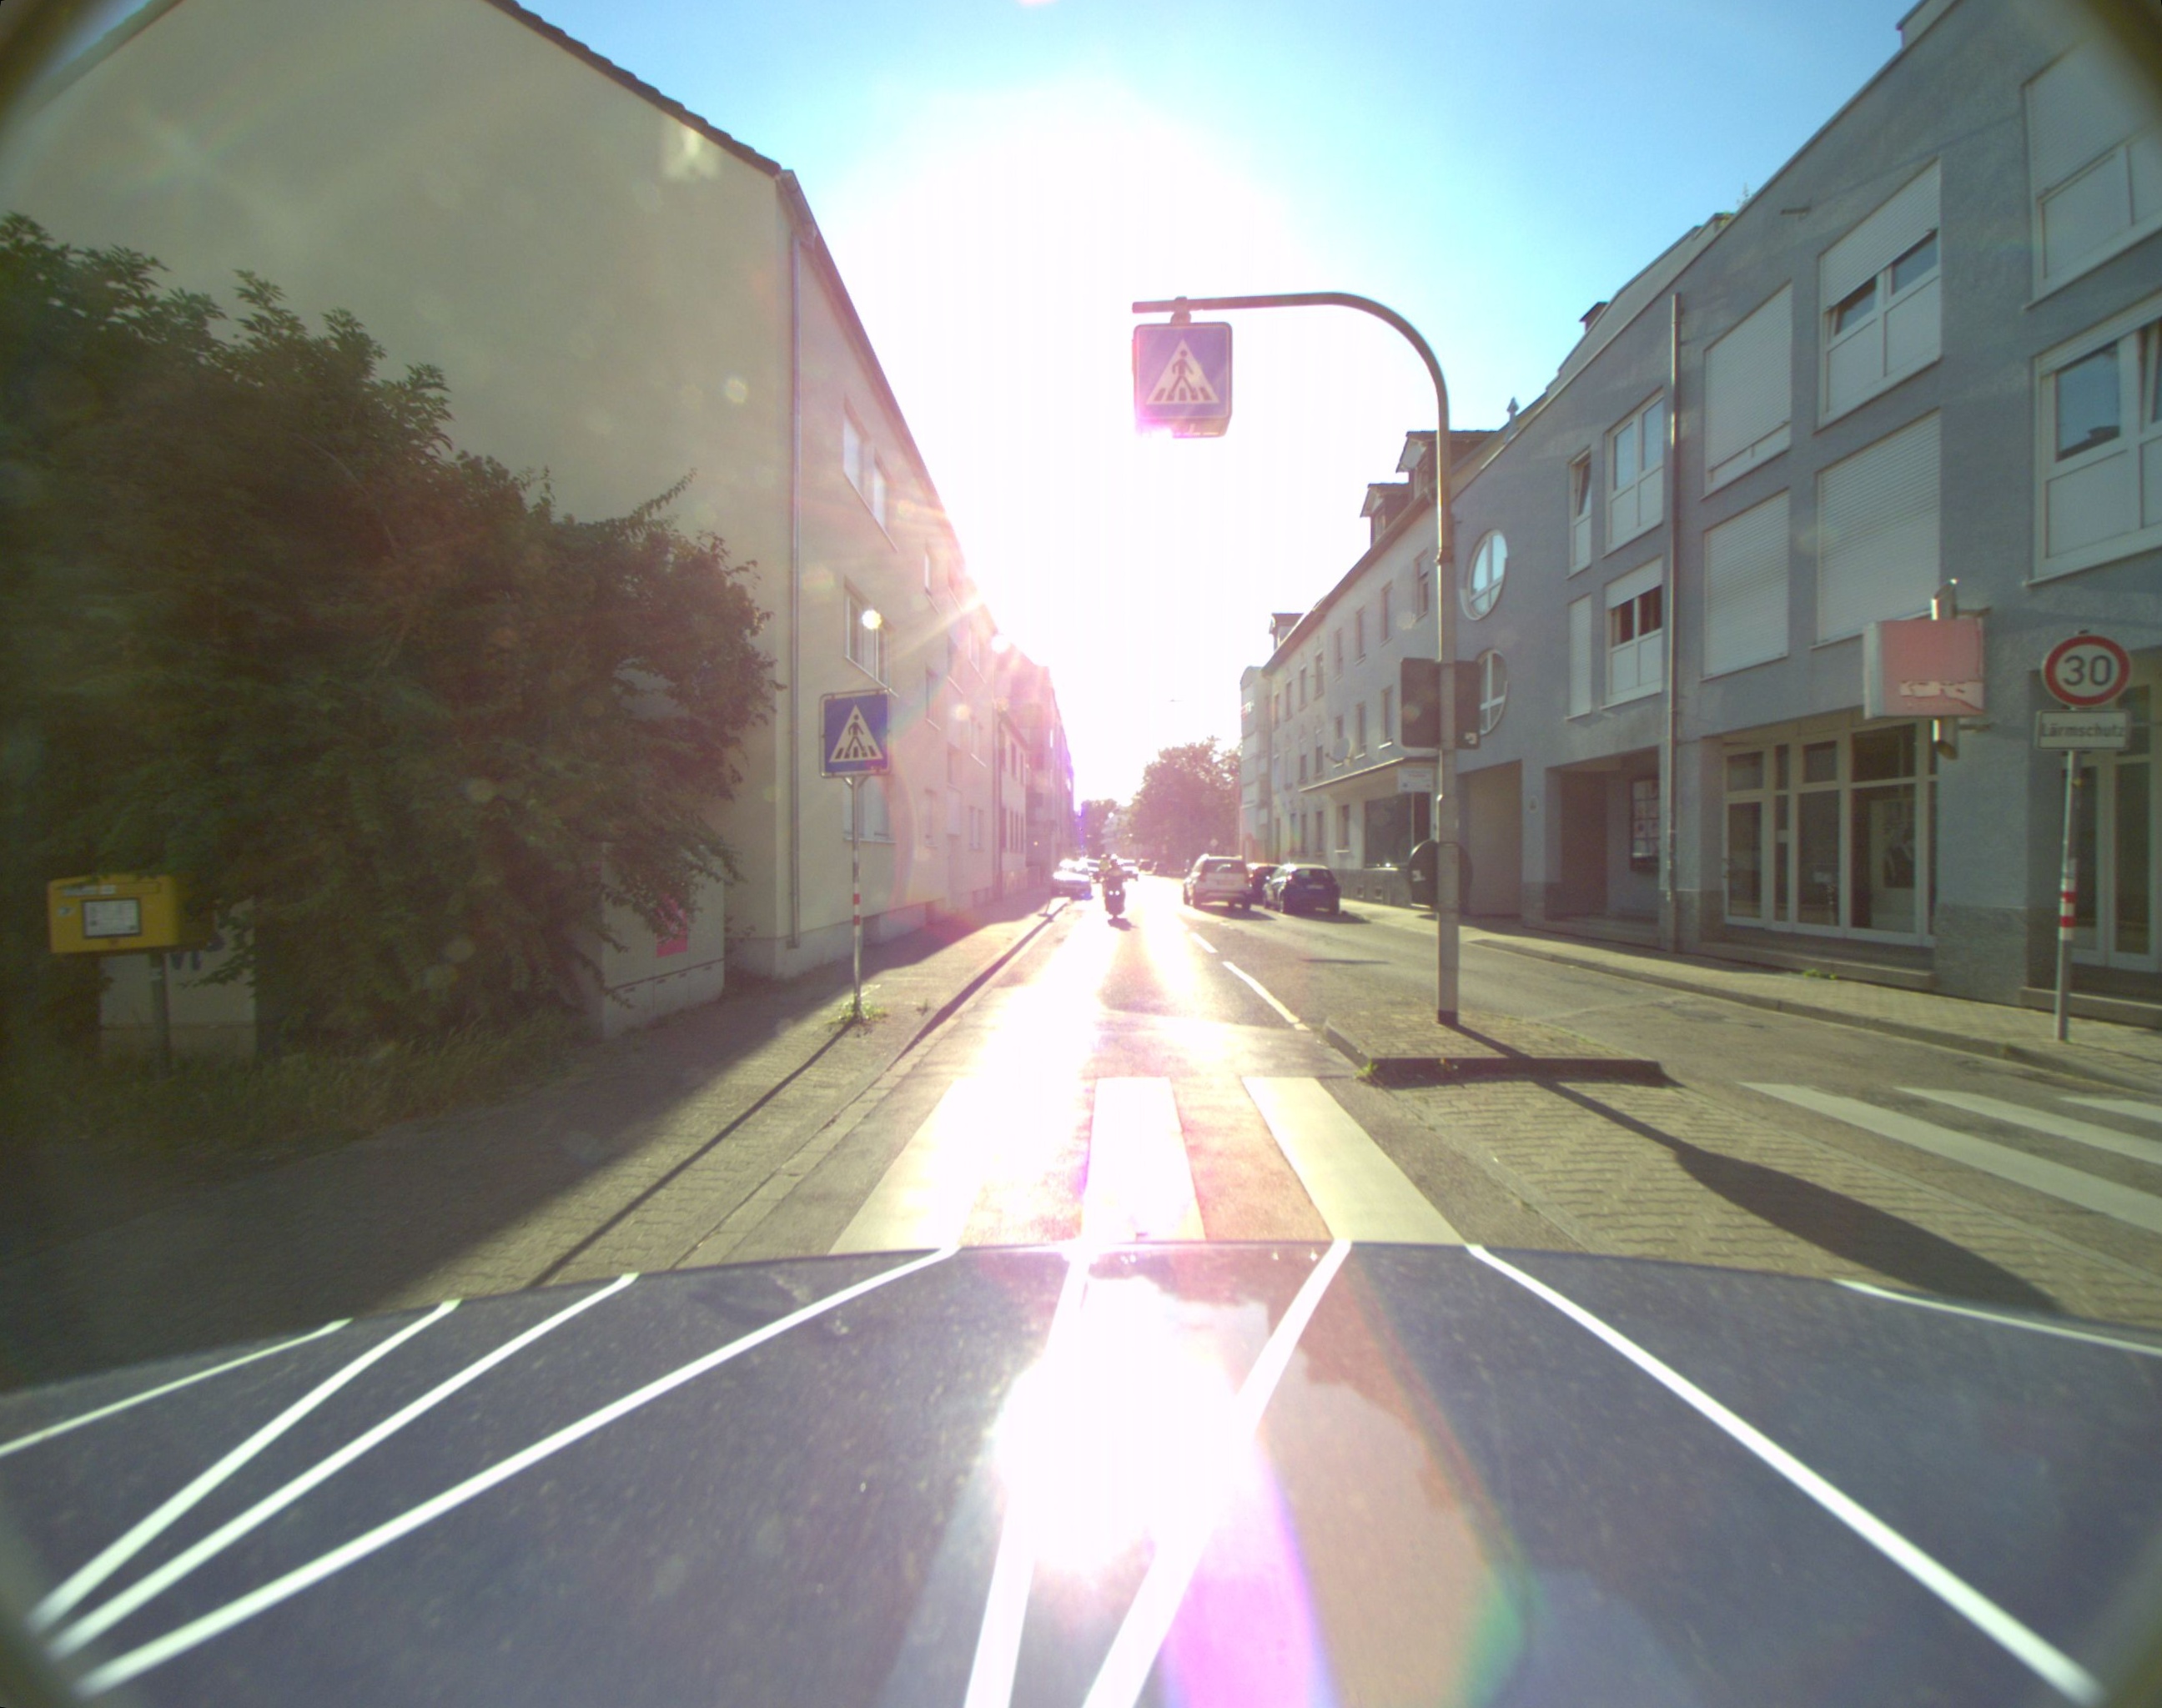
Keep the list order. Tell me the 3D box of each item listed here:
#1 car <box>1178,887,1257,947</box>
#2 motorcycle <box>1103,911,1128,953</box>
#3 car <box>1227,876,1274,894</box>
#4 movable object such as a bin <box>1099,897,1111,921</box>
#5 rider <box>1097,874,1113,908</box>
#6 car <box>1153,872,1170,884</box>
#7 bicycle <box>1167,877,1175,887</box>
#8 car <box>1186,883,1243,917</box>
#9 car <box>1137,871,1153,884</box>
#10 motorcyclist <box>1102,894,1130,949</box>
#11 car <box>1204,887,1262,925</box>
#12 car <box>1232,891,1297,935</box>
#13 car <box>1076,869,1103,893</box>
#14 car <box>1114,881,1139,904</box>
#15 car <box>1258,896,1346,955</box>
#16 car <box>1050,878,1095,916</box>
[{"bbox_3d":[4.440,2.019,25.269,1.812,1.691,4.193,2,-1,0],"label":"car"},{"bbox_3d":[0.930,2.112,20.845,0.598,1.003,1.822,0,-1,-1],"label":"motorcycle"},{"bbox_3d":[15.307,2.815,68.776,3.776,1.520,2.001,1,-2,2],"label":"car"},{"bbox_3d":[1.184,2.687,37.394,0.455,1.027,1.840,-3,0,-1],"label":"movable object such as a bin"},{"bbox_3d":[1.170,1.801,37.292,0.655,1.552,1.083,-3,1,-1],"label":"rider"},{"bbox_3d":[10.134,3.027,95.489,1.701,1.483,4.000,0,-1,-1],"label":"car"},{"bbox_3d":[9.659,3.020,81.436,0.705,0.997,1.942,-1,-1,4],"label":"bicycle"},{"bbox_3d":[6.973,2.377,40.305,1.999,1.638,5.222,-1,-1,-1],"label":"car"},{"bbox_3d":[9.612,3.531,114.601,1.937,1.694,5.101,-3,-1,-1],"label":"car"},{"bbox_3d":[0.940,1.812,20.581,0.717,1.424,0.746,0,-1,-1],"label":"motorcyclist"},{"bbox_3d":[6.940,2.357,35.031,1.769,1.486,4.127,2,-1,0],"label":"car"},{"bbox_3d":[7.065,2.240,29.612,1.664,1.517,3.810,-1,-1,1],"label":"car"},{"bbox_3d":[0.683,2.012,57.122,1.859,1.626,4.625,2,-1,2],"label":"car"},{"bbox_3d":[3.473,2.969,59.154,1.708,1.569,3.916,-1,-1,0],"label":"car"},{"bbox_3d":[6.806,2.167,23.781,1.735,1.490,3.960,0,0,2],"label":"car"},{"bbox_3d":[-0.310,1.896,34.367,1.745,1.483,4.440,2,-1,2],"label":"car"}]
